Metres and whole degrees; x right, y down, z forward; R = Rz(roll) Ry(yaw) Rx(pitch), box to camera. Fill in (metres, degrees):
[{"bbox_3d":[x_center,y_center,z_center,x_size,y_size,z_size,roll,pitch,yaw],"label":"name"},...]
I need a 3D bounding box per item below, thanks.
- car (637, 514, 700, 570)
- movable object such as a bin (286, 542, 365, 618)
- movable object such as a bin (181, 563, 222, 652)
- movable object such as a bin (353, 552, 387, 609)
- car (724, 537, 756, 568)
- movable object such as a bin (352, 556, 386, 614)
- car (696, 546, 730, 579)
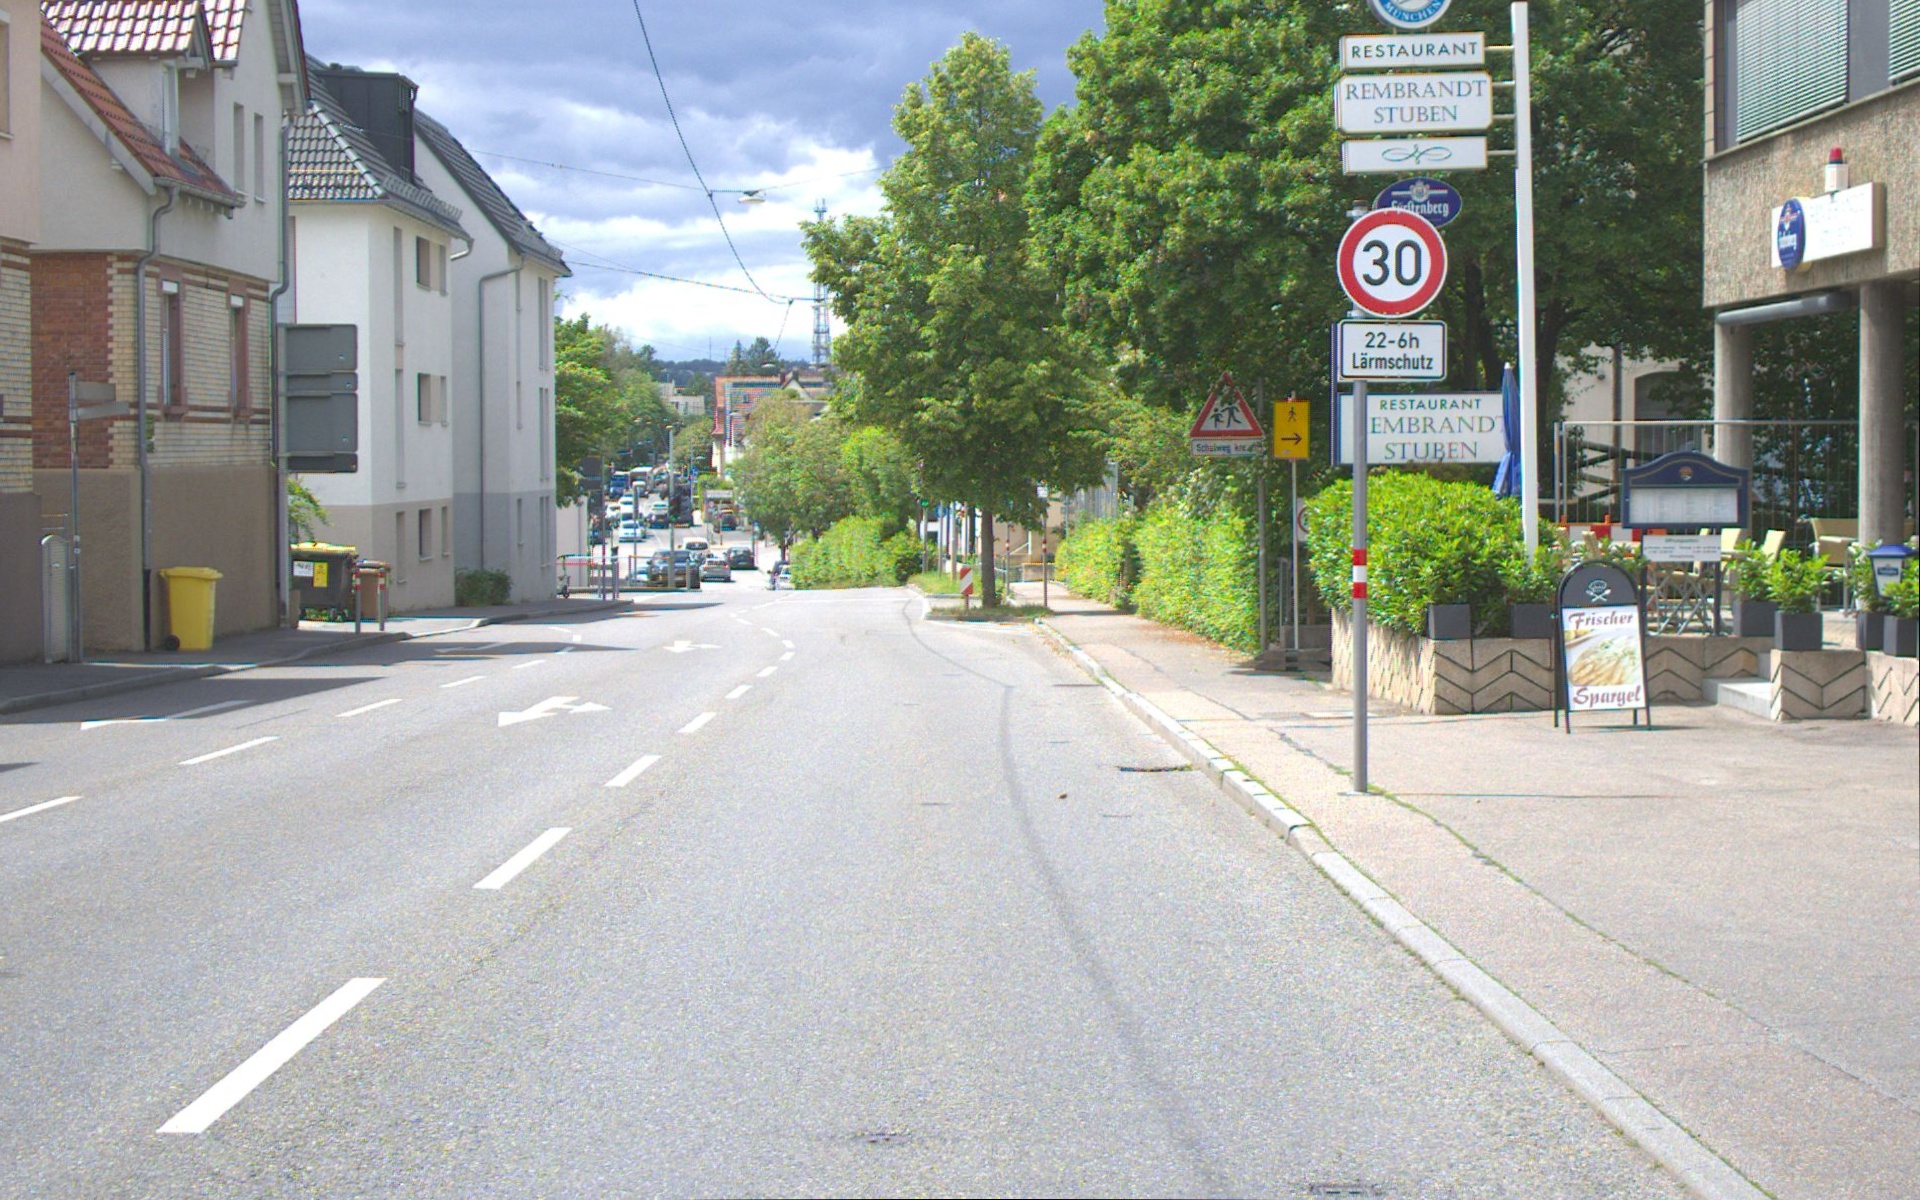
[{"bbox_3d":[-10.802,-2.152,127.267,1.993,2.007,4.001,-1,1,-10],"label":"car"},{"bbox_3d":[-11.176,-0.365,60.602,1.281,1.305,0.816,-1,1,-6],"label":"movable object such as a bin"},{"bbox_3d":[-9.841,0.095,44.619,0.431,1.124,0.299,-2,1,-2],"label":"movable object such as a bin"},{"bbox_3d":[-10.715,-0.360,62.442,0.531,1.026,0.455,-1,1,-2],"label":"movable object such as a bin"},{"bbox_3d":[-14.718,-3.164,230.075,1.993,2.007,4.001,-2,1,-5],"label":"car"},{"bbox_3d":[-10.603,-0.266,61.705,0.531,1.026,0.455,-1,1,-2],"label":"movable object such as a bin"},{"bbox_3d":[-15.436,-2.357,214.532,1.993,2.007,4.001,-2,1,-5],"label":"car"}]
